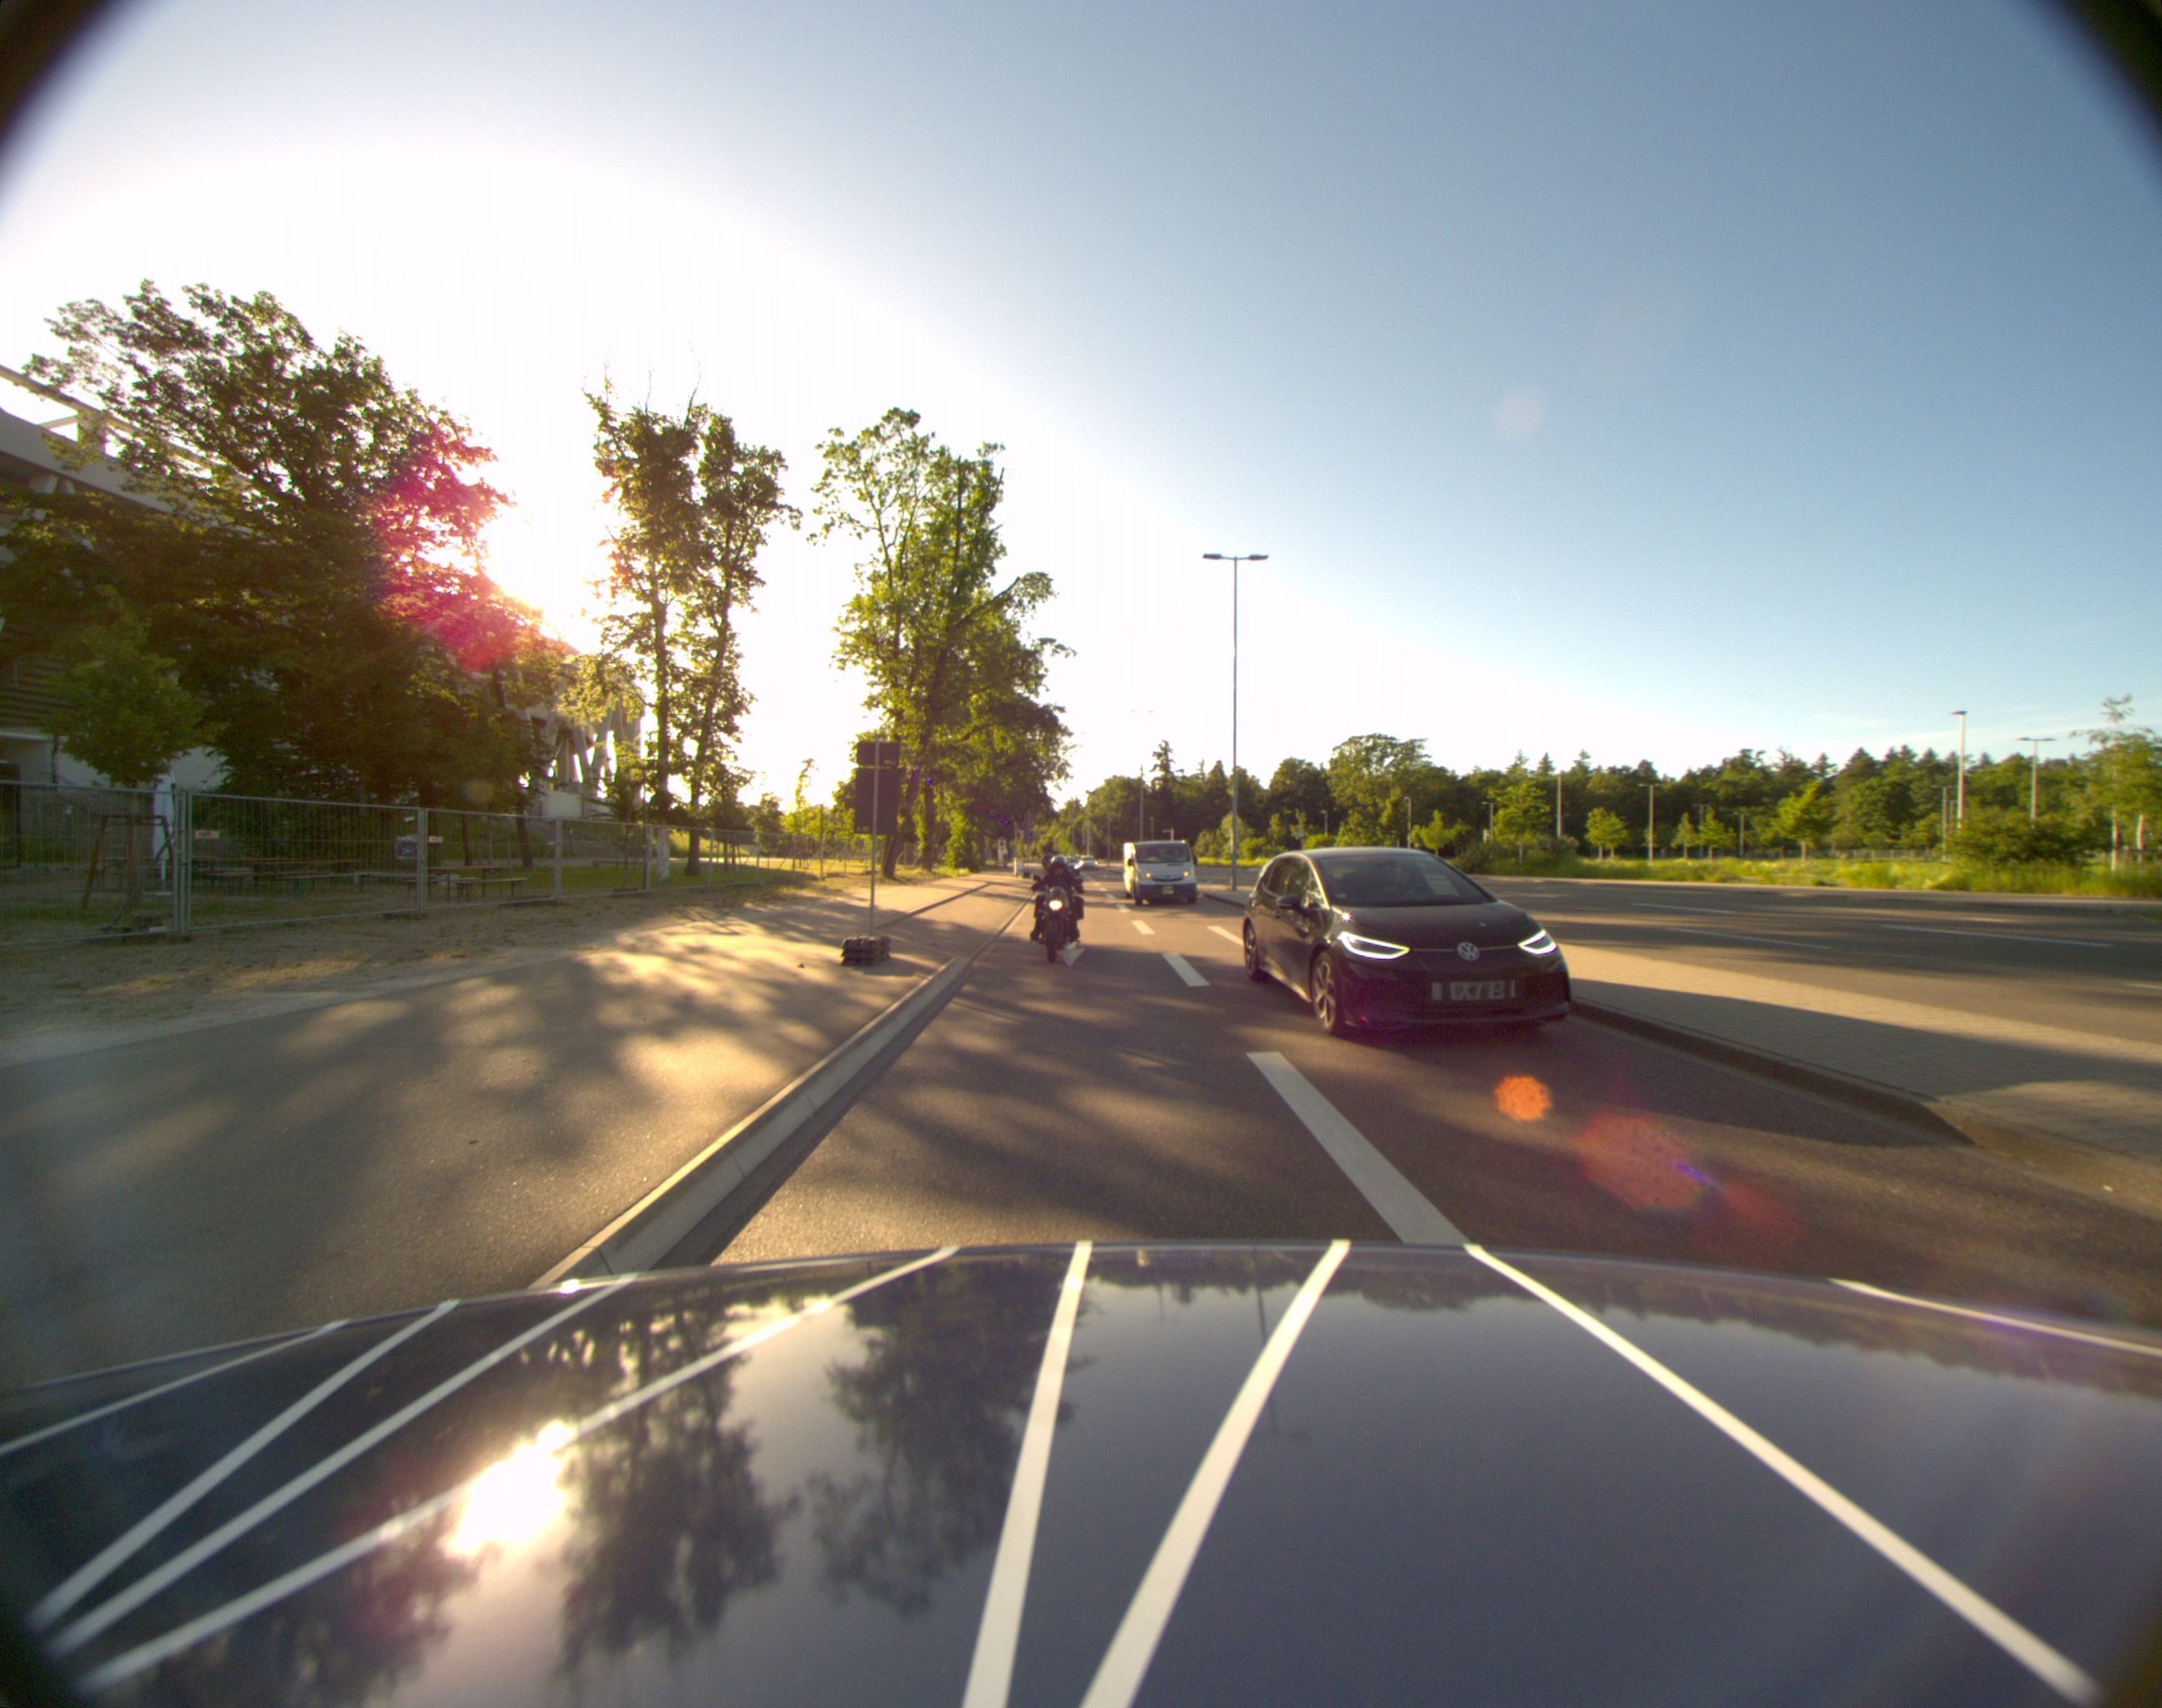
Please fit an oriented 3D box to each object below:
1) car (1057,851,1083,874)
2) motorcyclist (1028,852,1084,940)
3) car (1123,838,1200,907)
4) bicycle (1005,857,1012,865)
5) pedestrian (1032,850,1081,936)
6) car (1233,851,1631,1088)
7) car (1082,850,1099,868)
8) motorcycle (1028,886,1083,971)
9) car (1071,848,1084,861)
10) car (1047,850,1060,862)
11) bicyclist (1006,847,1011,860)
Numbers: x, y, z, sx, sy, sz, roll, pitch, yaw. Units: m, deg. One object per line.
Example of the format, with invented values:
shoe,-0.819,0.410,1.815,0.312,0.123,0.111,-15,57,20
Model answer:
car,-0.820,0.626,58.990,1.883,1.629,5.048,-2,0,0
motorcyclist,-0.392,0.664,12.236,0.822,1.367,0.476,-2,1,1
car,2.498,0.554,24.827,1.883,1.951,5.048,-2,0,0
bicycle,-7.439,0.697,78.309,0.481,0.854,1.910,0,0,1
pedestrian,-0.402,0.647,12.740,0.739,1.387,0.500,-2,1,1
car,2.821,0.790,7.229,1.883,1.528,3.999,-2,1,0
car,1.014,0.495,78.910,1.675,1.827,3.982,-2,1,1
motorcycle,-0.362,1.128,12.258,0.717,1.058,2.721,-2,0,1
car,-0.451,0.079,104.122,1.638,1.674,4.000,-2,1,1
car,-4.638,0.318,128.662,1.774,1.849,3.999,-2,1,1
bicyclist,-7.428,-0.049,78.287,0.451,1.412,0.575,0,1,1
